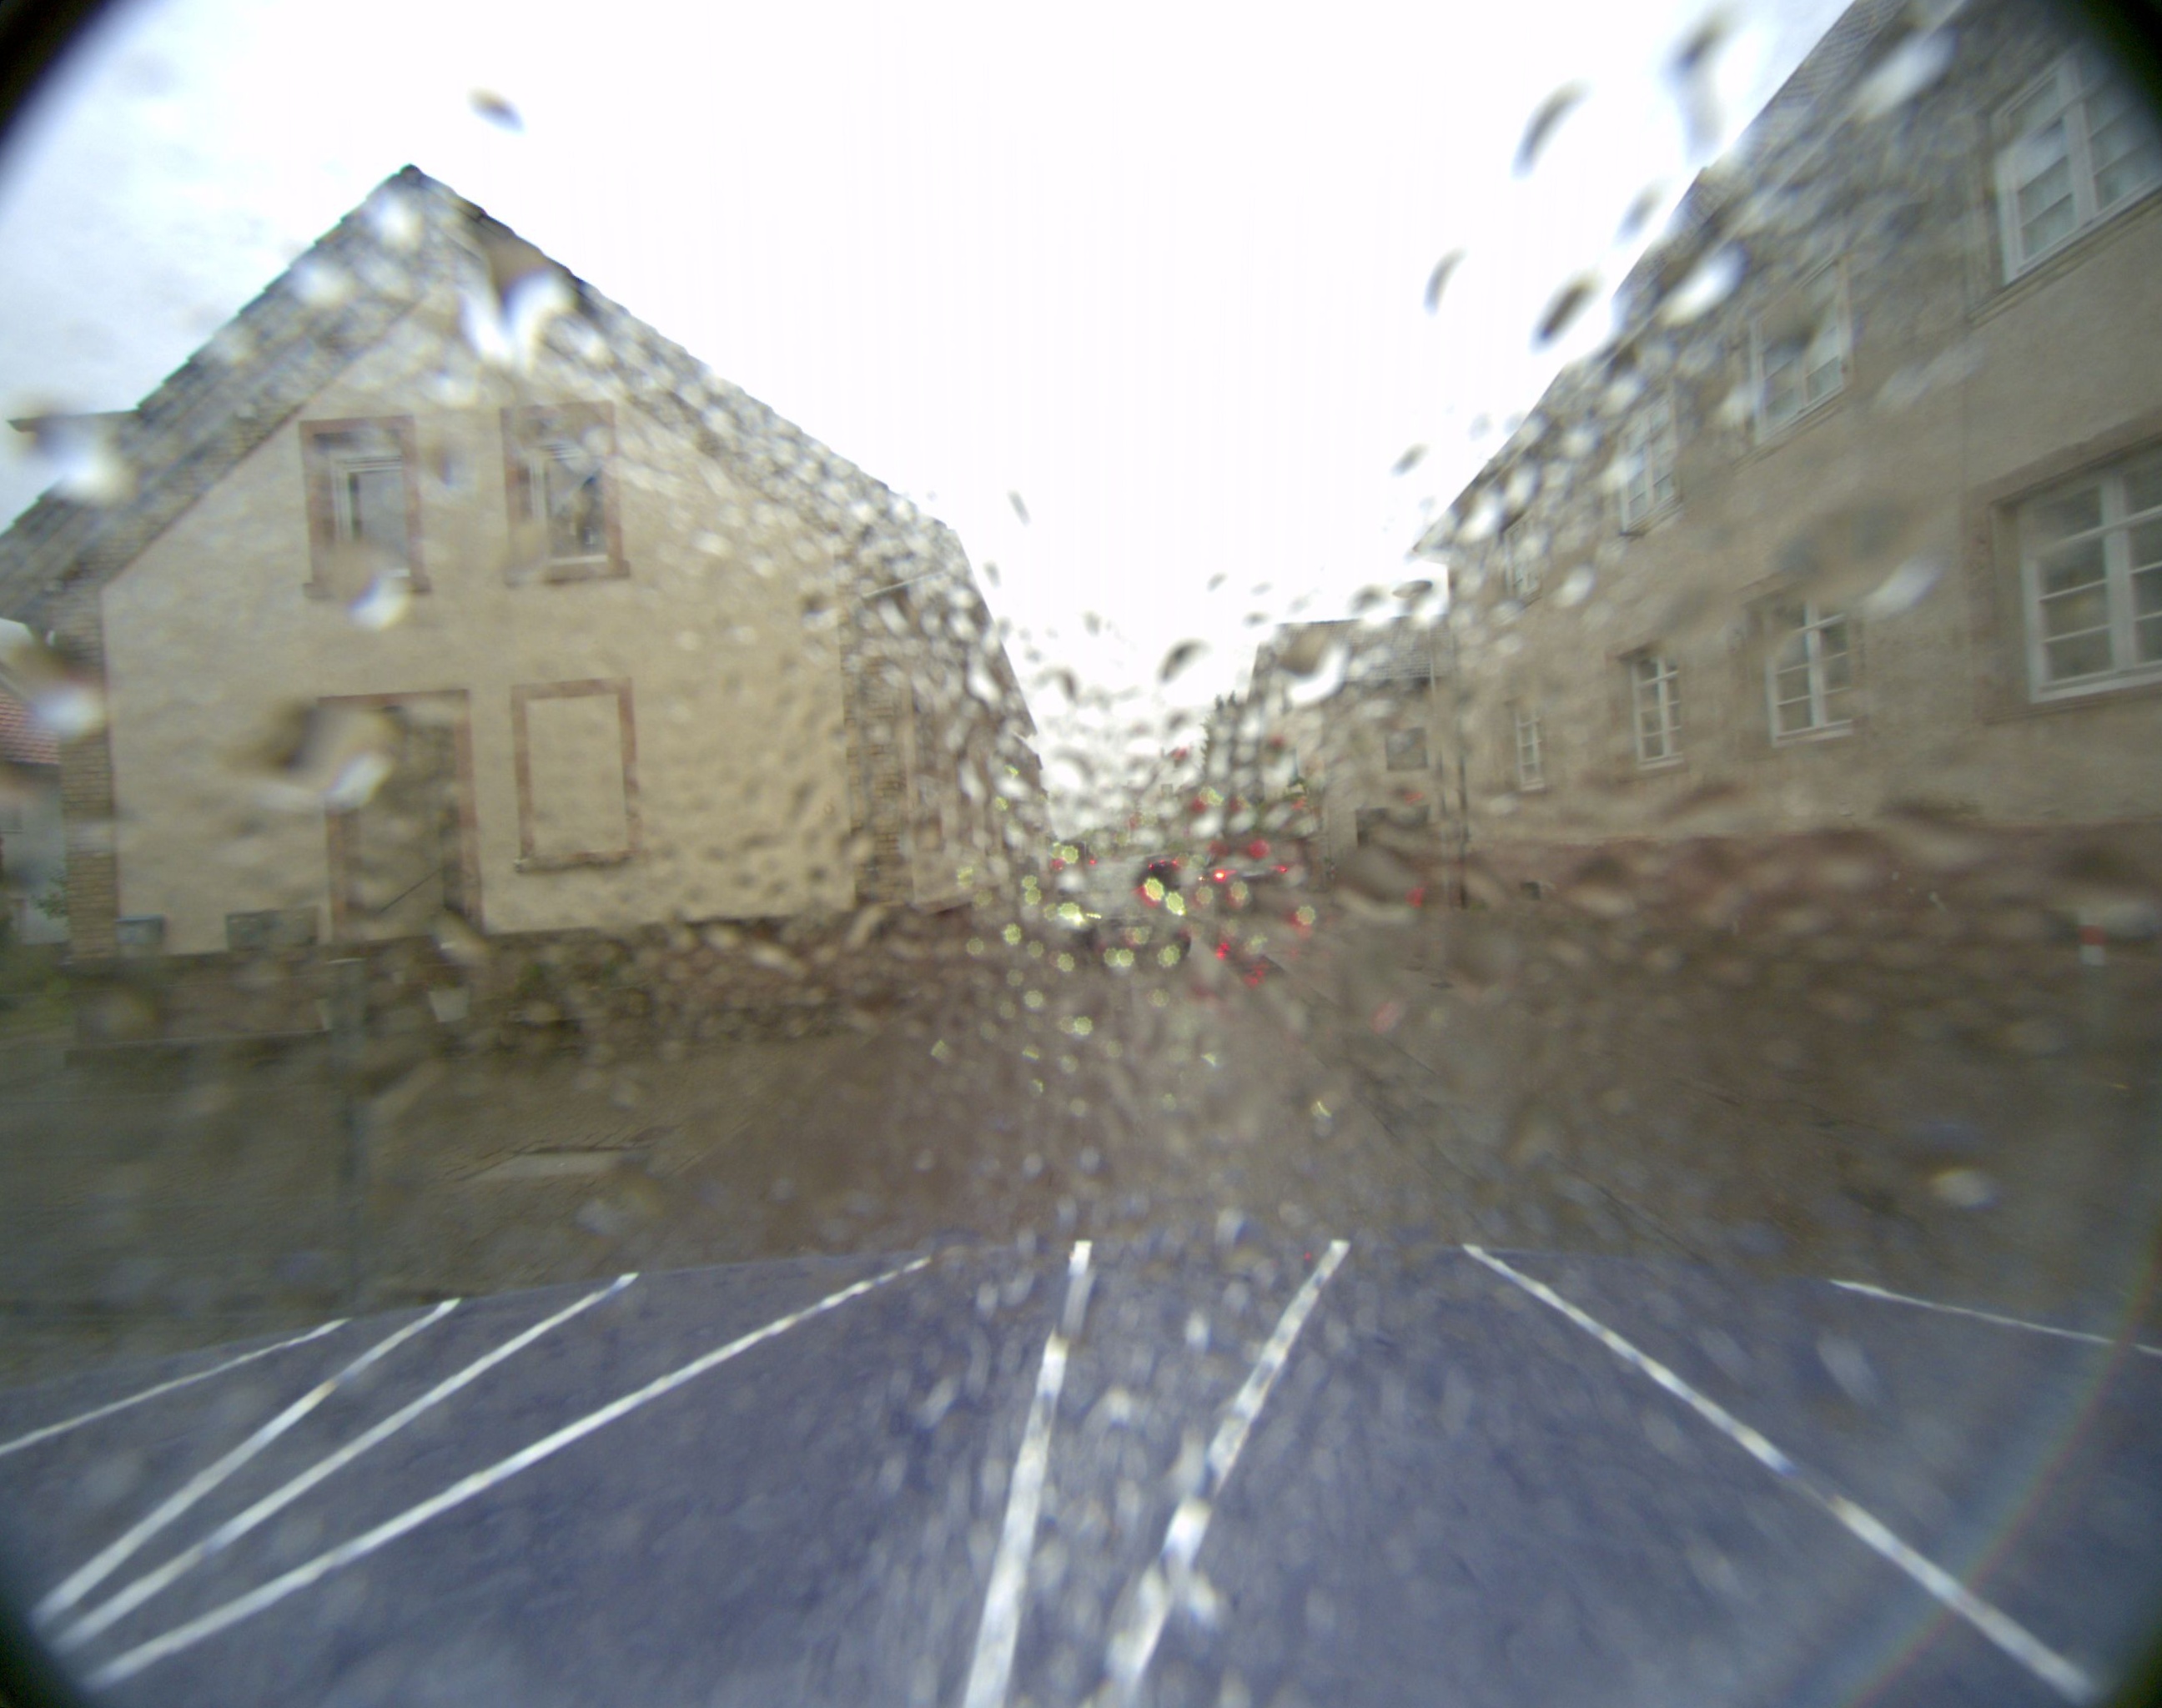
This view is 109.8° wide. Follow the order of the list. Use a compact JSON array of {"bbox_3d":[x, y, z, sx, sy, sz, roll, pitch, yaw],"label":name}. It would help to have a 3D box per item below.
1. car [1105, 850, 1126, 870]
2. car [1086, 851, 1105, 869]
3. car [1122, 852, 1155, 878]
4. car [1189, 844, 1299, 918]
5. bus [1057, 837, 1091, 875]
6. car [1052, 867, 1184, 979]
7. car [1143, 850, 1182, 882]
[{"bbox_3d":[3.069,0.499,67.891,1.626,1.502,3.793,-7,0,2],"label":"car"},{"bbox_3d":[1.526,0.647,79.621,1.785,1.655,4.425,-4,1,1],"label":"car"},{"bbox_3d":[3.652,0.675,48.771,1.700,1.500,4.341,-3,0,-1],"label":"car"},{"bbox_3d":[4.027,0.599,19.482,1.837,1.546,4.239,-5,0,1],"label":"car"},{"bbox_3d":[-0.837,0.152,73.350,2.668,3.213,12.188,-3,0,-3],"label":"bus"},{"bbox_3d":[0.515,0.974,12.396,1.739,1.362,4.102,-2,0,0],"label":"car"},{"bbox_3d":[4.209,0.576,39.488,1.608,1.504,3.688,-4,0,1],"label":"car"}]
